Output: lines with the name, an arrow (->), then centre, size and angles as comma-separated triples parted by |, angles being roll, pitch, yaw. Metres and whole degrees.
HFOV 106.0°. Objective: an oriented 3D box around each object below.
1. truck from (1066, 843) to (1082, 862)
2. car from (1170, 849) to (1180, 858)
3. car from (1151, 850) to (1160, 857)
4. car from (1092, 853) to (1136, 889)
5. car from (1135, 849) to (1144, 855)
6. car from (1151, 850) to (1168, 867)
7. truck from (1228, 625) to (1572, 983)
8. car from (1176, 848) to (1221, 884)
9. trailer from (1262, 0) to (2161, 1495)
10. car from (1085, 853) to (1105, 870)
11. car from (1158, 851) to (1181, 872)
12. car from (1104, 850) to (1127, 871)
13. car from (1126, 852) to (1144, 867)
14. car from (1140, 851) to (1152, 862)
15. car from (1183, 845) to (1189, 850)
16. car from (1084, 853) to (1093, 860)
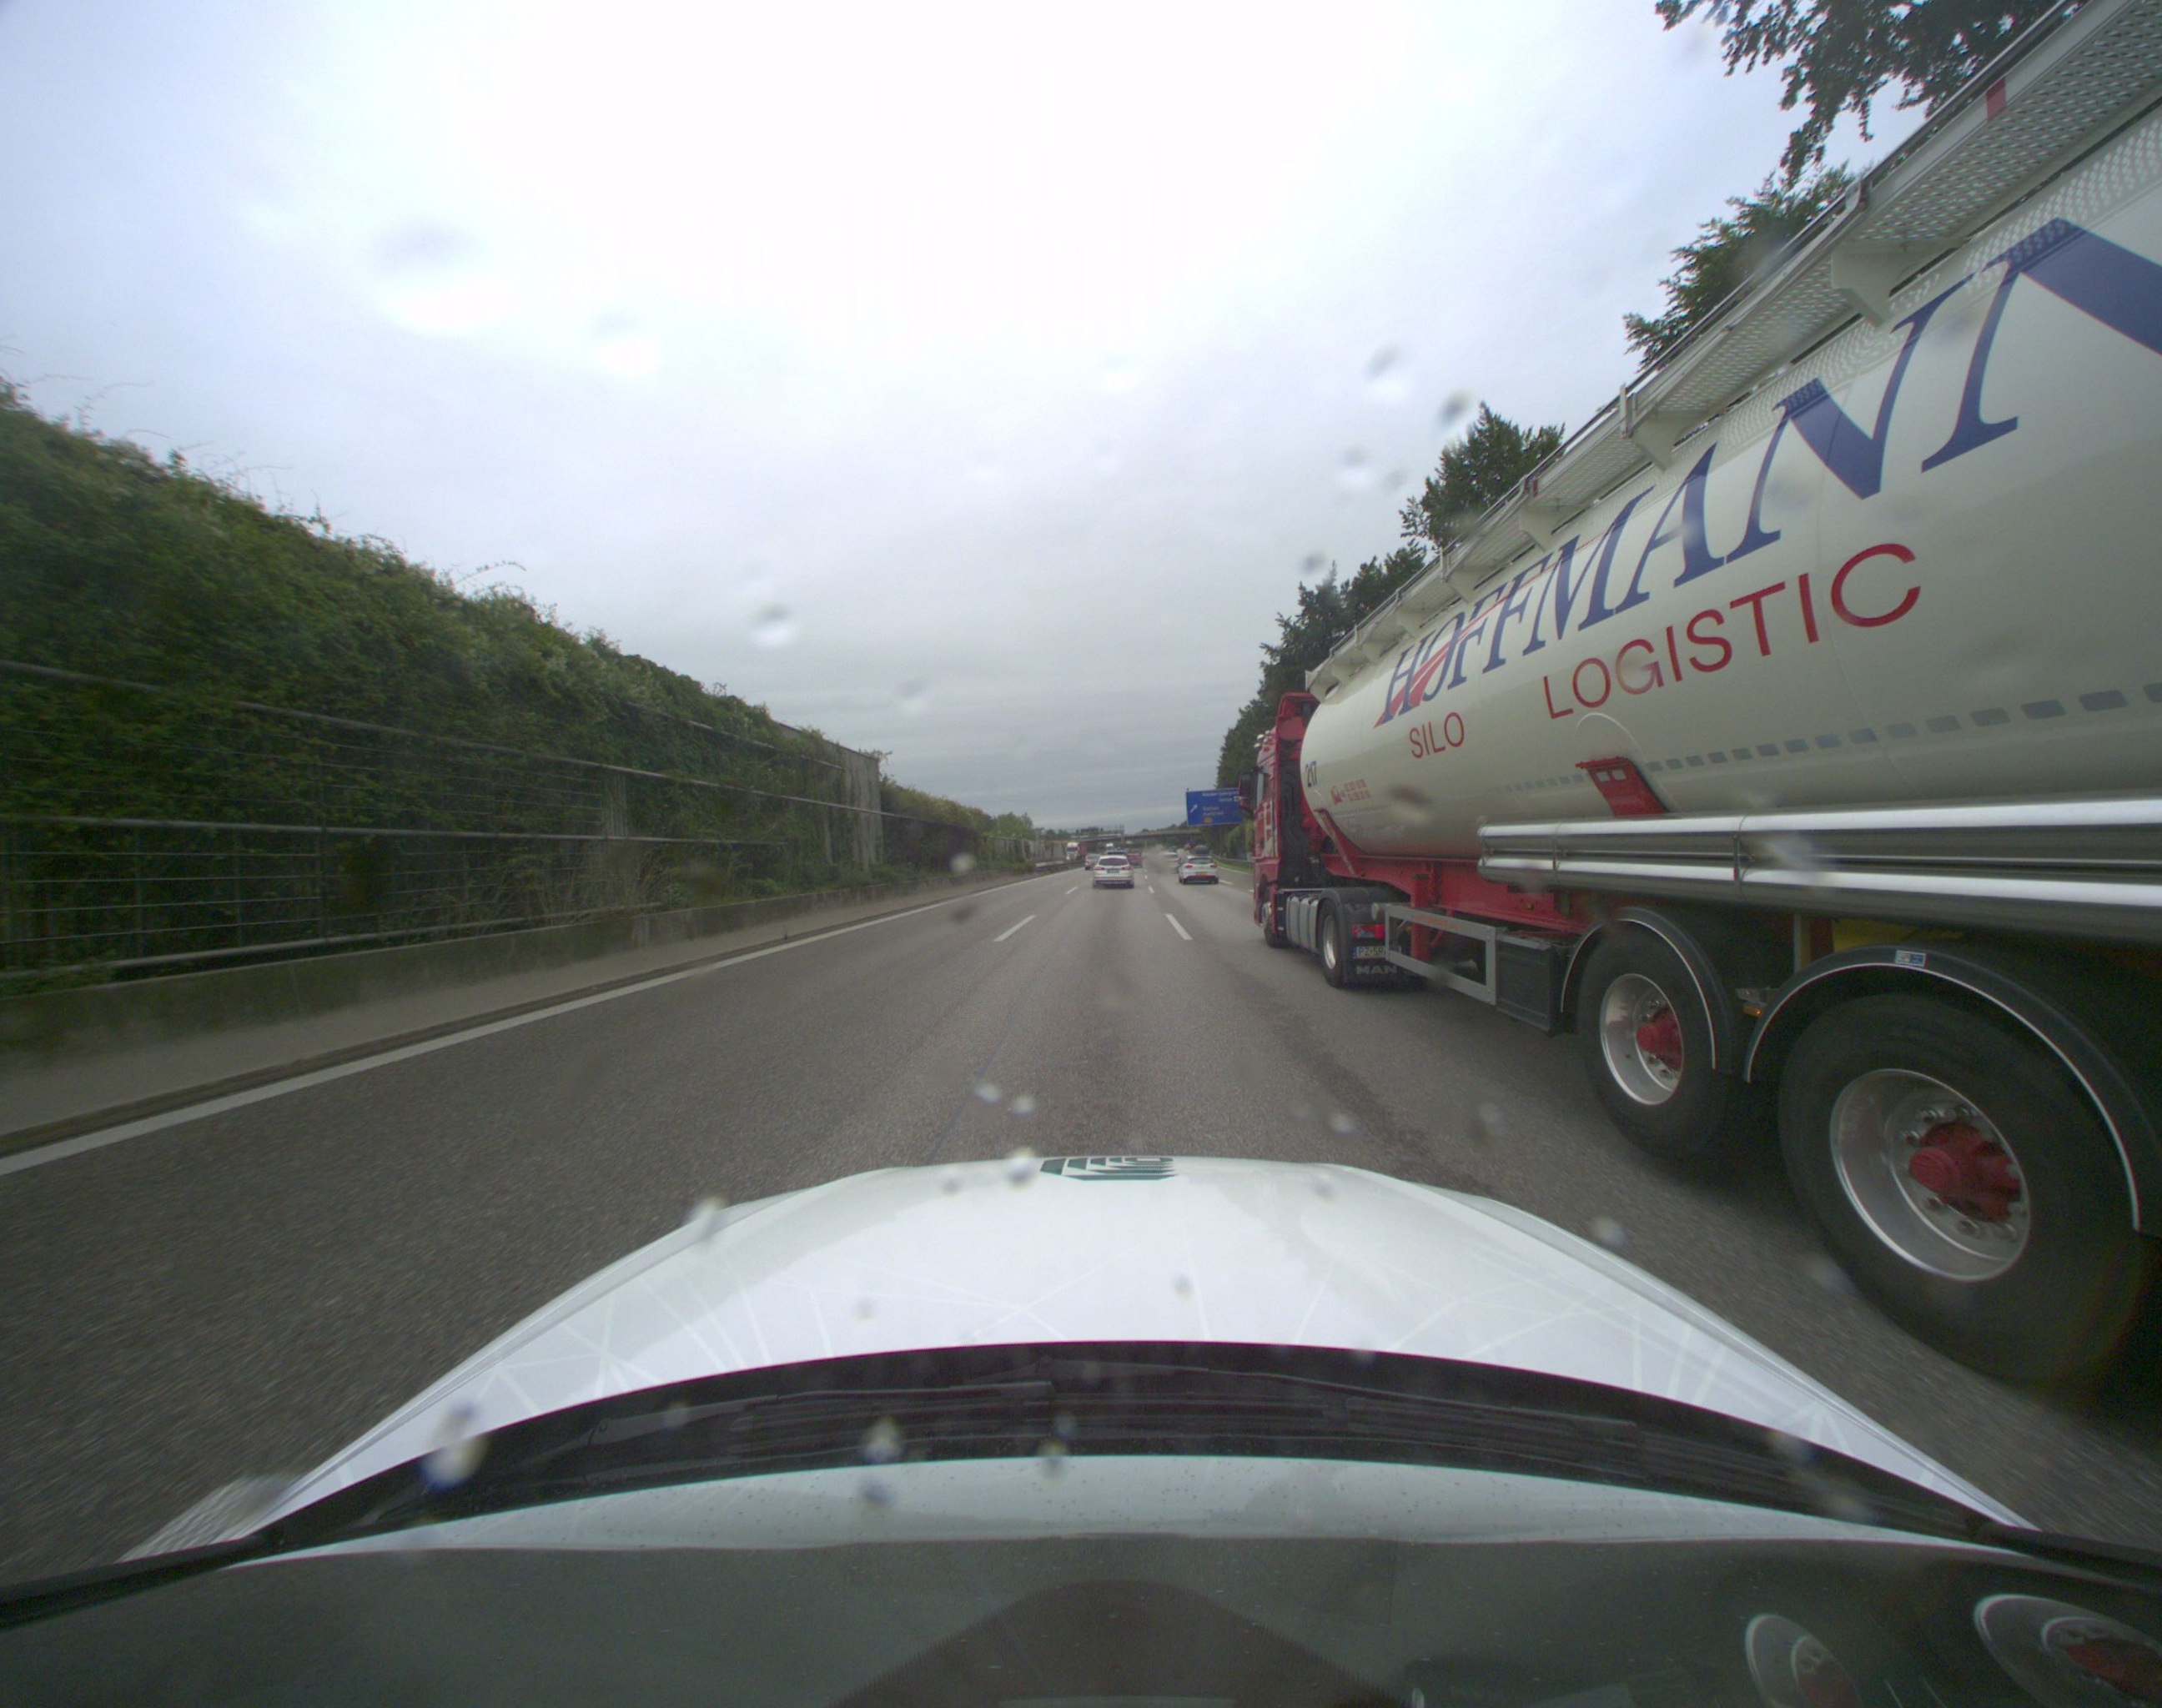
truck -> -1.592, -0.370, 181.274 | 2.653, 4.127, 5.929 | -2, 0, 7
car -> 17.762, -0.128, 153.482 | 1.679, 1.539, 3.881 | -2, 0, 9
car -> 16.408, -0.140, 179.343 | 1.679, 1.539, 3.881 | -2, 0, 9
car -> 1.520, 0.745, 37.376 | 1.884, 1.504, 5.032 | 0, 0, 2
car -> 12.959, -0.424, 179.916 | 1.680, 1.422, 3.879 | -2, 0, 7
car -> 9.265, 0.554, 95.640 | 1.679, 1.780, 3.880 | -3, -1, 9
truck -> 4.138, -0.542, 12.339 | 2.685, 3.912, 6.558 | -2, 0, 1
car -> 5.776, 0.559, 40.396 | 1.808, 1.625, 5.035 | -1, 0, 4
trailer -> 3.824, -0.563, 5.251 | 2.658, 3.939, 13.135 | -1, 0, 2
car -> 1.396, 0.757, 78.913 | 1.712, 1.469, 5.034 | -2, -2, 4
car -> 6.697, 0.567, 61.350 | 1.680, 1.506, 3.879 | -2, -1, 7
car -> 2.801, 0.468, 64.744 | 1.681, 1.506, 3.875 | 2, 1, 4
car -> 5.601, 0.572, 83.943 | 1.681, 1.506, 3.877 | -1, 0, 5
car -> 11.354, 0.458, 142.902 | 1.779, 1.779, 3.881 | -3, -1, 9
car -> 28.632, -1.788, 221.958 | 1.680, 1.422, 3.879 | -2, 0, 7
car -> 1.637, 0.512, 178.754 | 1.764, 1.569, 4.722 | -2, -1, 4
